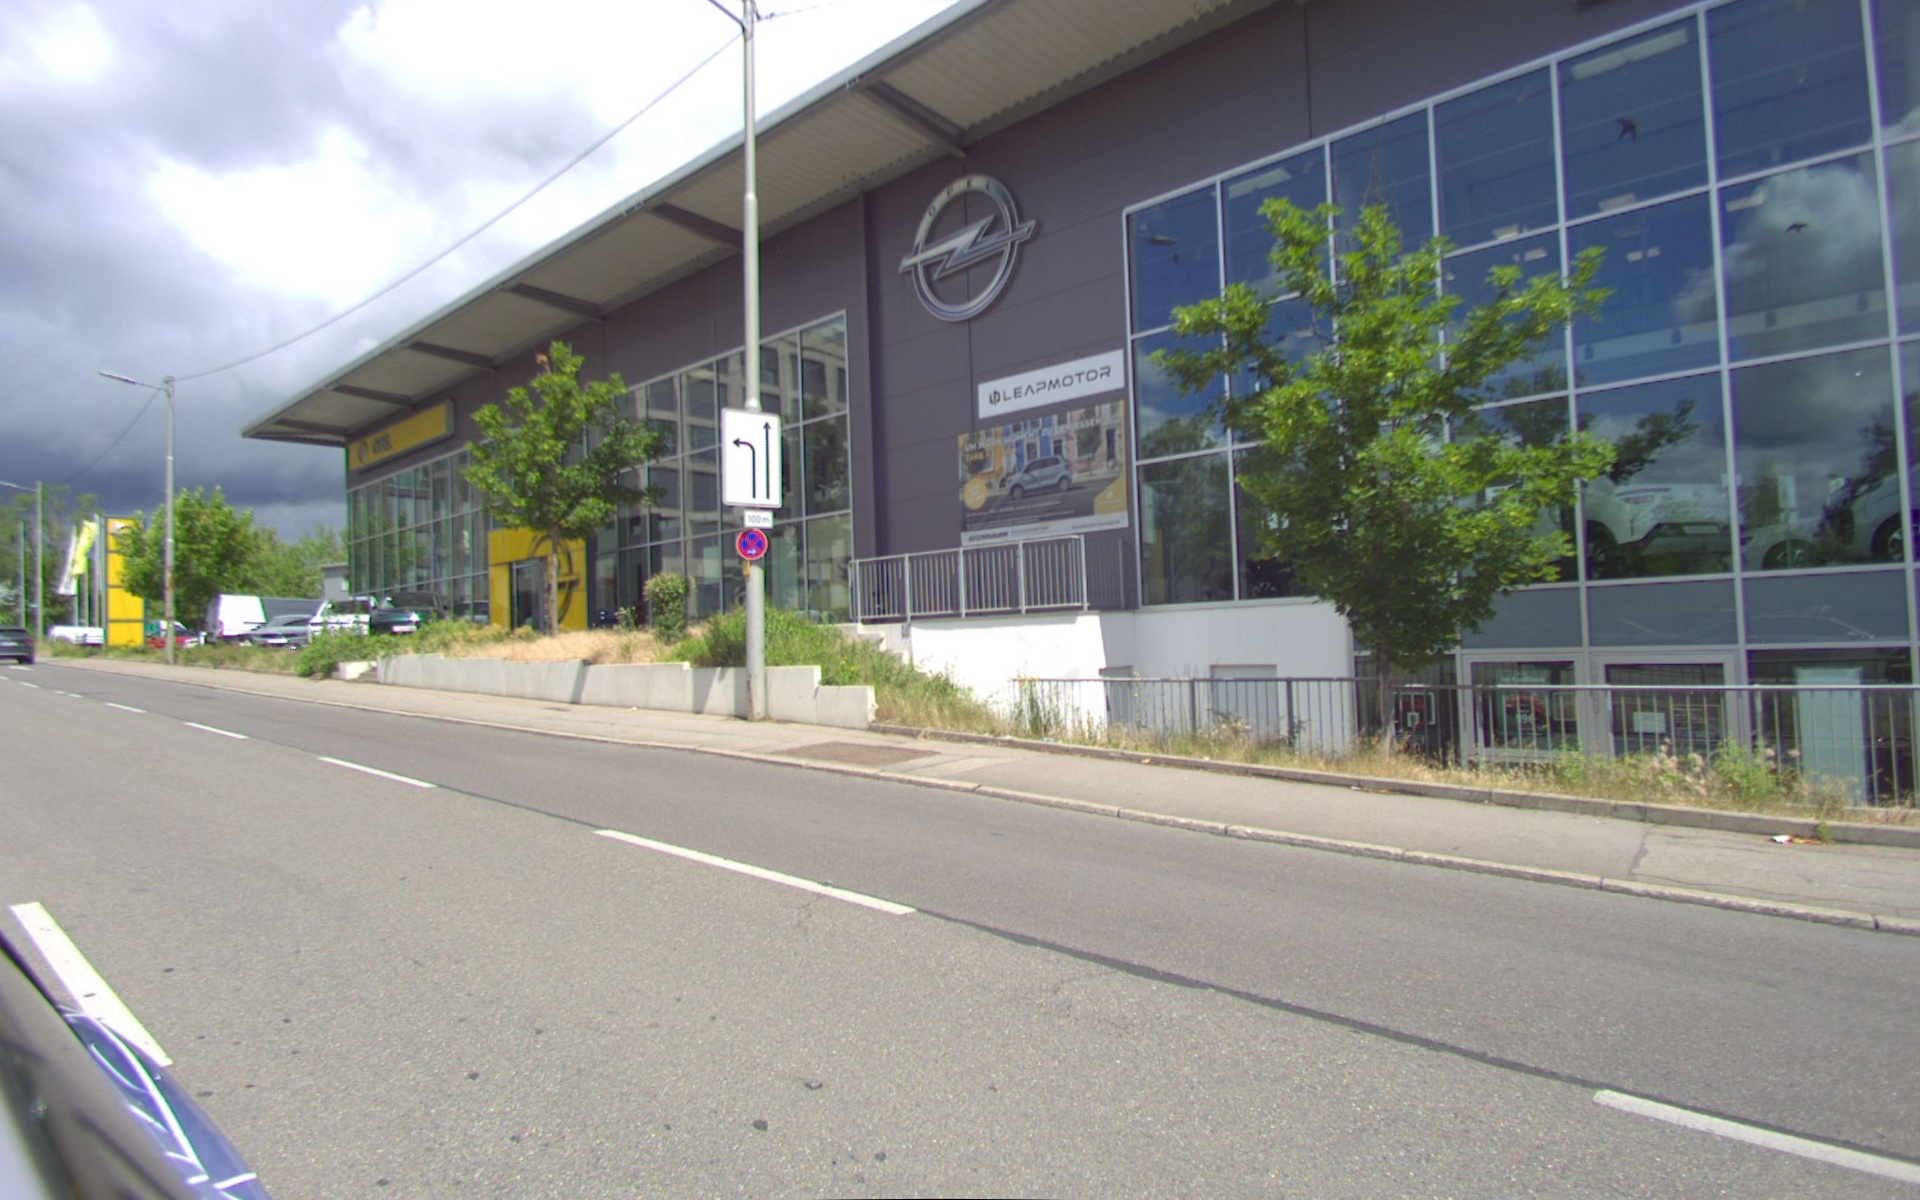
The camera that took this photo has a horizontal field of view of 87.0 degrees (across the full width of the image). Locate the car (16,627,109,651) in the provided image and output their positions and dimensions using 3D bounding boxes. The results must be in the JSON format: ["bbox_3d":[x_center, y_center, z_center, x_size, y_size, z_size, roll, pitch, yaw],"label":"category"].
[{"bbox_3d":[-57.676,2.478,65.075,2.093,1.493,4.200,-2,-2,38],"label":"car"}]

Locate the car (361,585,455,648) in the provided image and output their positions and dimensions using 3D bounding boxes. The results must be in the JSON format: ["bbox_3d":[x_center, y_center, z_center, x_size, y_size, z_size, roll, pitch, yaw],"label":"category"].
[{"bbox_3d":[-15.546,0.508,28.710,1.790,1.625,4.122,1,-2,-21],"label":"car"}]

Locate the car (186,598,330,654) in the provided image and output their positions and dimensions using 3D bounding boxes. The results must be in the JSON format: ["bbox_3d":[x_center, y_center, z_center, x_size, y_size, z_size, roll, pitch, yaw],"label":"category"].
[{"bbox_3d":[-29.143,1.062,42.119,2.177,2.211,4.475,-1,-1,39],"label":"car"}]

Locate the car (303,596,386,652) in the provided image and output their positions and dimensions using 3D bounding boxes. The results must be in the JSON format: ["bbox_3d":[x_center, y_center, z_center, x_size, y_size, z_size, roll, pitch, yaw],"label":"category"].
[{"bbox_3d":[-19.289,0.754,31.880,1.767,1.625,4.122,0,-1,-25],"label":"car"}]

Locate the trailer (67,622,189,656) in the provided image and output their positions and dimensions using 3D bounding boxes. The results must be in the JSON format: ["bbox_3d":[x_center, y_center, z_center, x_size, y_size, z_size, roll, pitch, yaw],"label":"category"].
[{"bbox_3d":[-45.325,2.098,55.227,2.092,1.765,4.776,-2,-2,37],"label":"trailer"}]

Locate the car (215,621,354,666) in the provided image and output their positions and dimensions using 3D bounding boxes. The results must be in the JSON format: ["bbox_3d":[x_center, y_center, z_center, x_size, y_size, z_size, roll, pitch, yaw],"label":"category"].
[{"bbox_3d":[-25.733,1.641,38.676,1.792,1.625,4.064,-2,-2,32],"label":"car"}]

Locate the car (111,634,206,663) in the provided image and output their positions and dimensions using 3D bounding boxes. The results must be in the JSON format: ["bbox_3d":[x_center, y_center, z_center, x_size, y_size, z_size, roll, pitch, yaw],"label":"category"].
[{"bbox_3d":[-42.020,2.526,53.100,1.814,1.420,3.621,-2,-2,42],"label":"car"}]

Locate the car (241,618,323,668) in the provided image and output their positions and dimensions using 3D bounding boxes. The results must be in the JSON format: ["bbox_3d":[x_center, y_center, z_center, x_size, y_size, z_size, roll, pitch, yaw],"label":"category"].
[{"bbox_3d":[-23.471,1.462,35.185,1.767,1.625,4.122,1,-2,-26],"label":"car"}]

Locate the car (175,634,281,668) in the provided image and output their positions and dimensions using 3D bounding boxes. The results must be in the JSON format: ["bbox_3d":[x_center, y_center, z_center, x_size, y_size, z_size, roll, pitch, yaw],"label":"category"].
[{"bbox_3d":[-35.527,2.446,49.165,1.559,1.539,3.897,-2,-2,38],"label":"car"}]

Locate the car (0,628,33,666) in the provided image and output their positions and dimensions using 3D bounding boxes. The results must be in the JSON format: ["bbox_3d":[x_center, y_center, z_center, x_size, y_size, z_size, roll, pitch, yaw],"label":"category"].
[{"bbox_3d":[-40.618,1.963,42.968,1.738,1.533,3.961,1,-2,-44],"label":"car"}]
